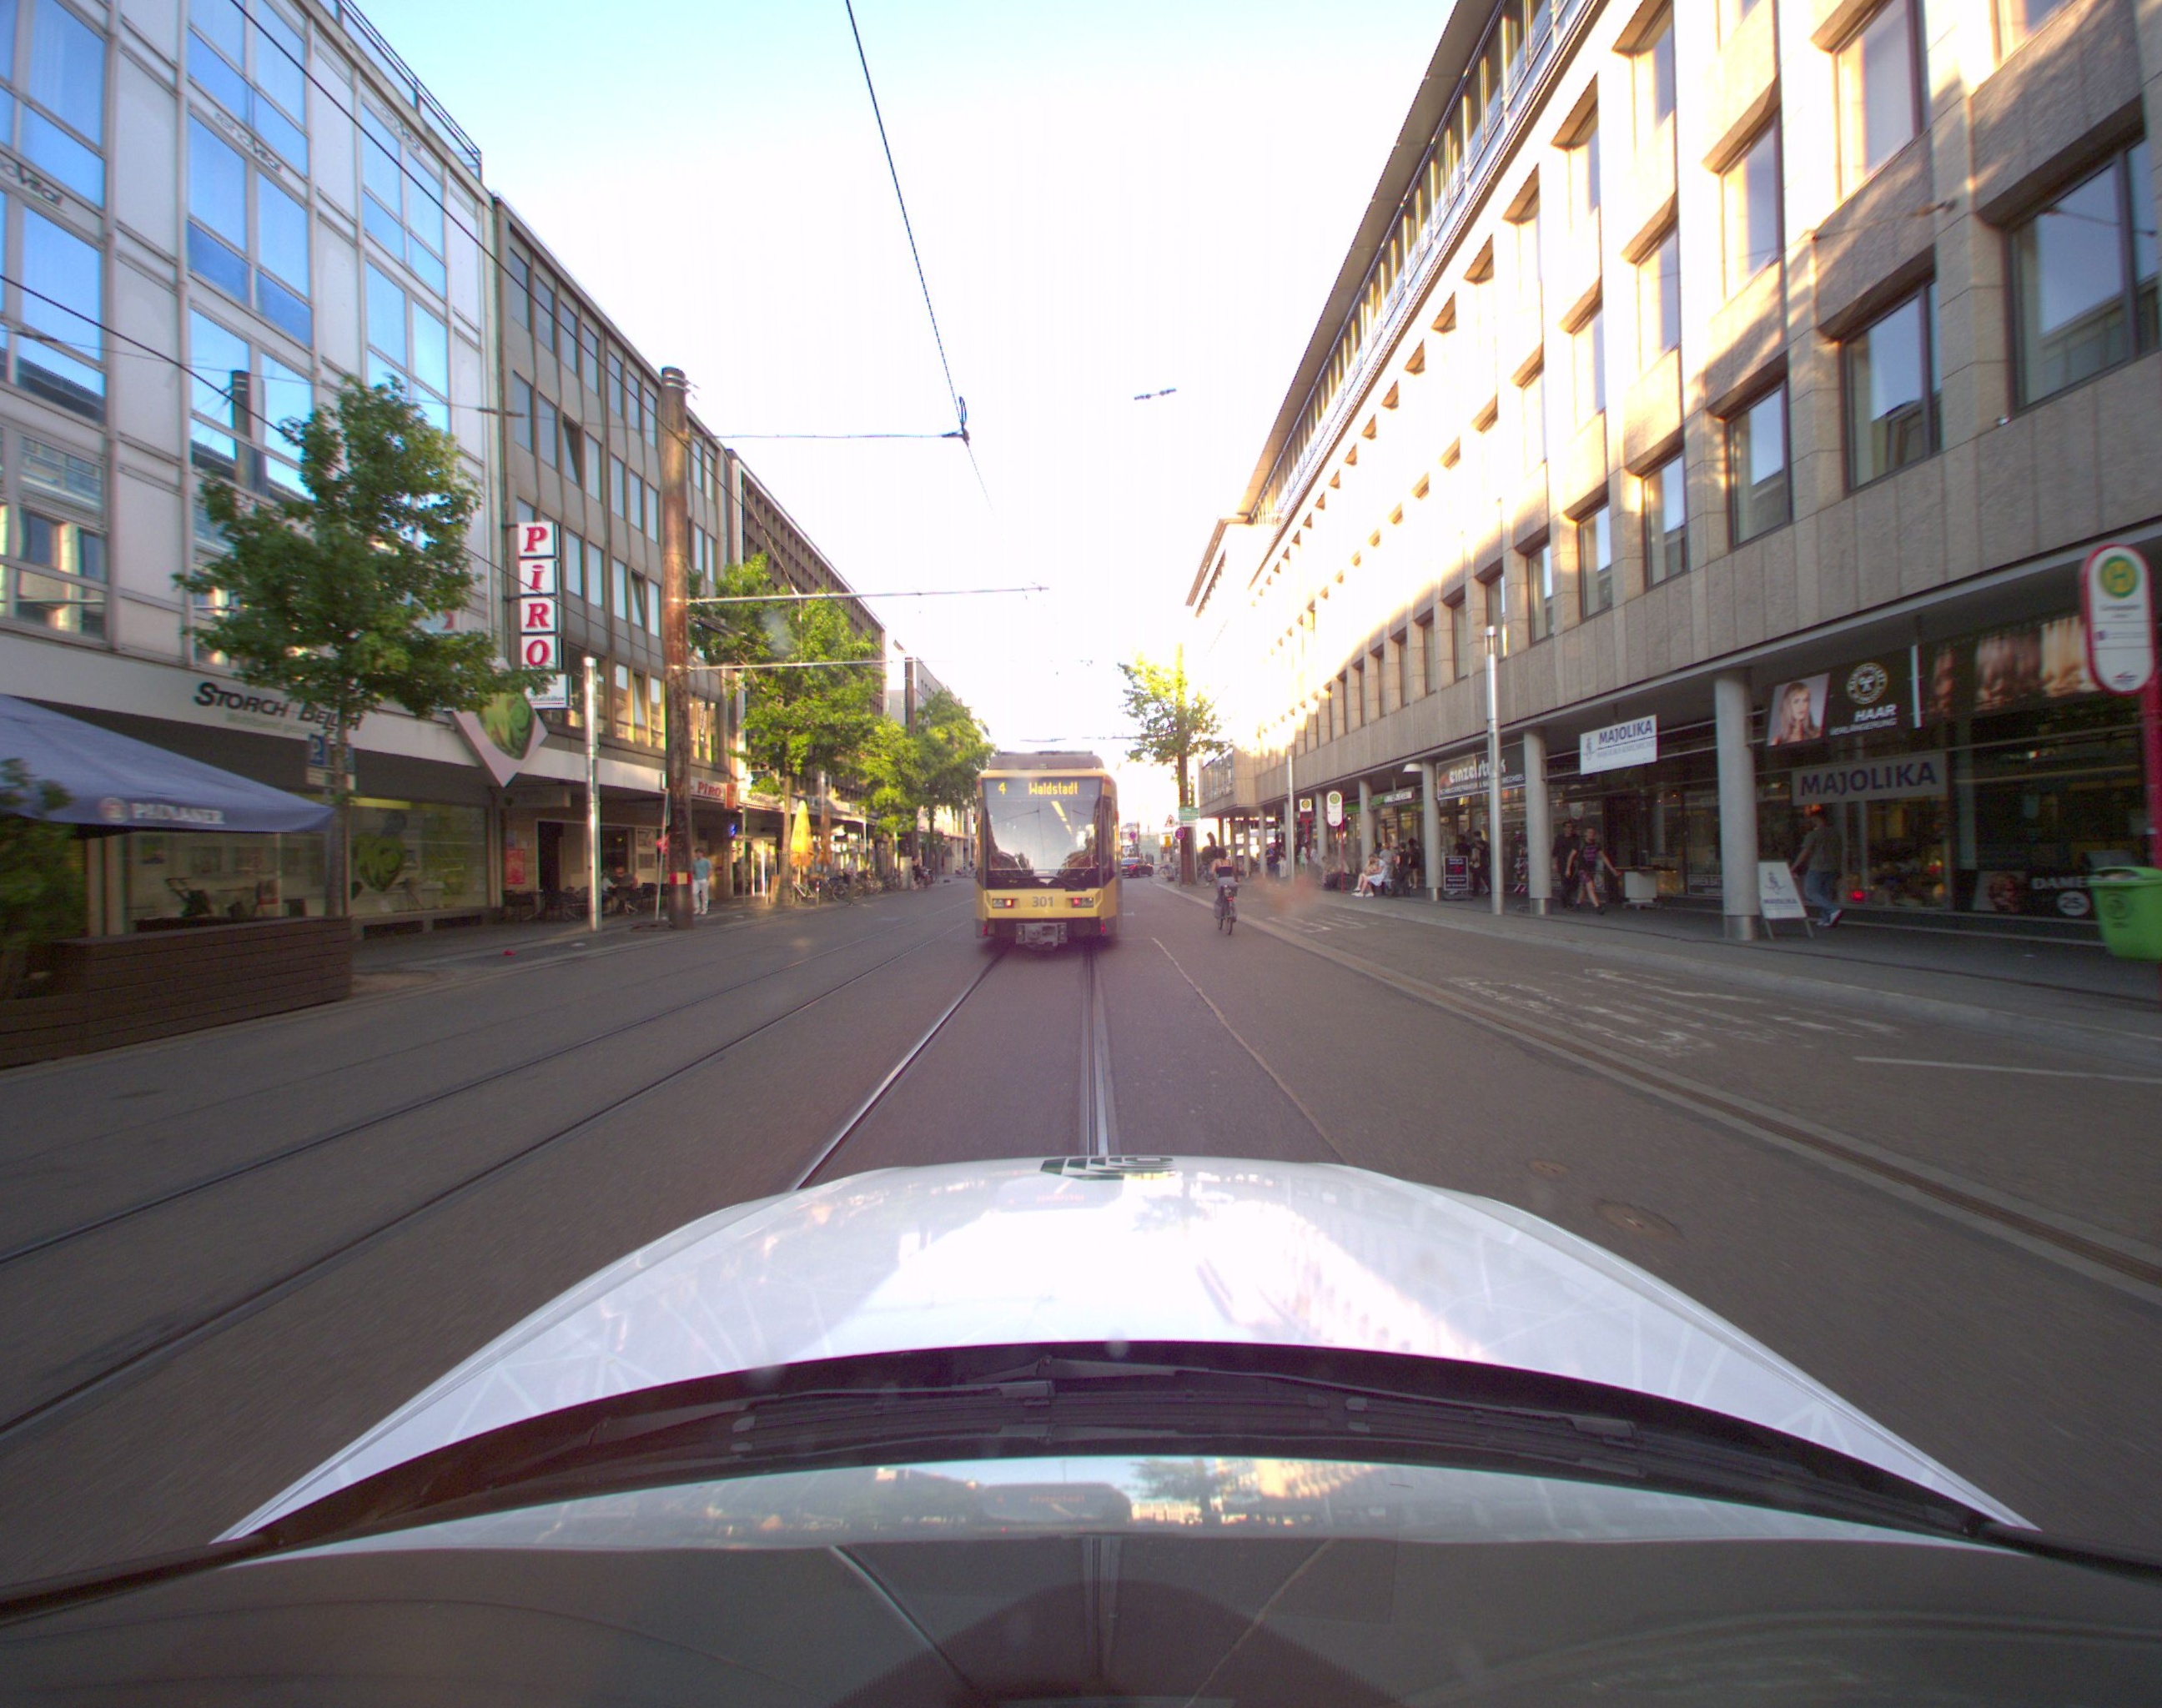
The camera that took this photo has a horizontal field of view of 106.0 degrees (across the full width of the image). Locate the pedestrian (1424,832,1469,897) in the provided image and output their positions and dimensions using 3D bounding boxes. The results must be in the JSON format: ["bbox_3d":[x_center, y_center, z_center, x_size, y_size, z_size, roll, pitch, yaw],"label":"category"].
[{"bbox_3d":[10.529,0.295,23.460,0.841,1.797,0.859,-2,-1,1],"label":"pedestrian"}]

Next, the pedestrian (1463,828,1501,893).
[{"bbox_3d":[11.989,0.181,24.361,0.685,1.883,0.773,-2,-1,-1],"label":"pedestrian"}]

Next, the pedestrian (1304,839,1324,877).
[{"bbox_3d":[10.248,0.171,35.804,0.646,1.661,0.650,-2,0,1],"label":"pedestrian"}]

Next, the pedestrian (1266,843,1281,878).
[{"bbox_3d":[10.029,0.353,42.440,0.537,1.806,0.604,-2,-1,-1],"label":"pedestrian"}]

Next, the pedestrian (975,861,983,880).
[{"bbox_3d":[-8.263,1.318,65.915,0.603,1.494,0.554,-1,-1,-8],"label":"pedestrian"}]

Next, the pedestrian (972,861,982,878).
[{"bbox_3d":[-8.893,1.334,69.612,0.548,1.434,0.689,-3,-2,38],"label":"pedestrian"}]

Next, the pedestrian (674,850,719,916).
[{"bbox_3d":[-10.812,0.810,22.935,0.680,1.793,0.992,1,-1,6],"label":"pedestrian"}]

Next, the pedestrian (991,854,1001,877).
[{"bbox_3d":[-7.142,0.987,68.529,0.772,1.926,0.707,-1,-1,-8],"label":"pedestrian"}]

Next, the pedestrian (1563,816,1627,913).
[{"bbox_3d":[10.382,0.216,16.468,0.704,1.889,0.796,-2,-1,1],"label":"pedestrian"}]

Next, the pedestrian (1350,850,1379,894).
[{"bbox_3d":[8.774,0.552,25.225,0.715,1.314,0.532,-1,-1,2],"label":"pedestrian"}]

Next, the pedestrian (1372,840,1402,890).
[{"bbox_3d":[10.391,0.371,27.664,0.685,1.661,0.722,-2,-1,2],"label":"pedestrian"}]

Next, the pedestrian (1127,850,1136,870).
[{"bbox_3d":[4.395,0.534,71.419,0.715,1.725,0.709,-2,-1,1],"label":"pedestrian"}]

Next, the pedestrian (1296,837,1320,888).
[{"bbox_3d":[8.443,0.314,30.348,0.637,1.839,0.668,-2,-1,1],"label":"pedestrian"}]

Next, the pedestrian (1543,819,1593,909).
[{"bbox_3d":[10.589,0.218,17.730,0.614,1.889,0.684,-2,-1,2],"label":"pedestrian"}]

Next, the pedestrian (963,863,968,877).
[{"bbox_3d":[-13.020,1.785,92.156,0.508,1.547,0.516,-1,-1,-8],"label":"pedestrian"}]

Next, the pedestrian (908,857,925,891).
[{"bbox_3d":[-8.306,0.985,41.062,0.595,1.699,0.539,-1,0,29],"label":"pedestrian"}]

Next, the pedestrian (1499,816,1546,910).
[{"bbox_3d":[9.421,0.197,17.398,0.576,1.944,0.655,-2,-1,0],"label":"pedestrian"}]

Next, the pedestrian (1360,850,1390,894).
[{"bbox_3d":[8.908,0.546,24.680,0.715,1.314,0.524,-1,-1,2],"label":"pedestrian"}]

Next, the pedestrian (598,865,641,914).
[{"bbox_3d":[-12.999,0.981,22.966,0.668,1.325,0.912,1,-1,-1],"label":"pedestrian"}]

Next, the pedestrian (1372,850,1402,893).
[{"bbox_3d":[9.513,0.544,25.337,0.715,1.314,0.532,-1,-1,2],"label":"pedestrian"}]

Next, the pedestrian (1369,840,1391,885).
[{"bbox_3d":[11.734,0.337,32.012,0.568,1.731,0.617,-2,-1,-1],"label":"pedestrian"}]

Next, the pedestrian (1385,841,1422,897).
[{"bbox_3d":[9.305,0.428,23.531,0.721,1.570,0.736,-2,-1,2],"label":"pedestrian"}]

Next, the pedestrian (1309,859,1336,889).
[{"bbox_3d":[8.781,0.718,29.590,0.810,1.042,0.544,-1,-1,2],"label":"pedestrian"}]

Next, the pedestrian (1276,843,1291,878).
[{"bbox_3d":[10.569,0.346,42.528,0.537,1.806,0.604,-2,-1,-1],"label":"pedestrian"}]

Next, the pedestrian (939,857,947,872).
[{"bbox_3d":[-16.101,1.275,95.145,0.711,1.725,0.709,-2,-1,-1],"label":"pedestrian"}]

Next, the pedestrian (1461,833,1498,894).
[{"bbox_3d":[11.178,0.263,22.867,0.645,1.661,0.681,-2,0,2],"label":"pedestrian"}]

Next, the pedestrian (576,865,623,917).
[{"bbox_3d":[-12.862,0.972,21.772,0.668,1.325,0.912,1,-1,-1],"label":"pedestrian"}]

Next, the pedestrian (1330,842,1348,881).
[{"bbox_3d":[11.865,0.339,37.508,0.568,1.731,0.617,-2,-1,-1],"label":"pedestrian"}]

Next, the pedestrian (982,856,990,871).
[{"bbox_3d":[-9.916,0.964,84.995,0.631,1.588,0.598,0,-2,-42],"label":"pedestrian"}]

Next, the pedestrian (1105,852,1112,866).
[{"bbox_3d":[3.462,0.621,102.167,0.734,1.823,0.816,-1,0,-14],"label":"pedestrian"}]

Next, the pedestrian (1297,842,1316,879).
[{"bbox_3d":[11.295,0.326,40.818,0.660,1.787,0.719,-2,-1,1],"label":"pedestrian"}]

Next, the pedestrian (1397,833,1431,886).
[{"bbox_3d":[11.531,0.199,28.224,0.770,1.772,0.773,-2,-1,-1],"label":"pedestrian"}]

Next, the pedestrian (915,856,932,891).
[{"bbox_3d":[-7.846,0.974,40.514,0.595,1.699,0.539,-1,0,29],"label":"pedestrian"}]

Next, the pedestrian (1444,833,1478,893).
[{"bbox_3d":[11.376,0.279,24.409,0.580,1.753,0.773,-2,-1,-1],"label":"pedestrian"}]

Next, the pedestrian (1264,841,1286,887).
[{"bbox_3d":[7.920,0.416,33.323,0.666,1.839,0.708,-2,-1,0],"label":"pedestrian"}]

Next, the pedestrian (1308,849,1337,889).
[{"bbox_3d":[8.522,0.521,28.770,0.810,1.381,0.662,-1,-1,2],"label":"pedestrian"}]

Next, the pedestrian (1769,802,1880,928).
[{"bbox_3d":[11.739,0.166,12.895,0.841,1.889,0.899,-2,-1,1],"label":"pedestrian"}]
